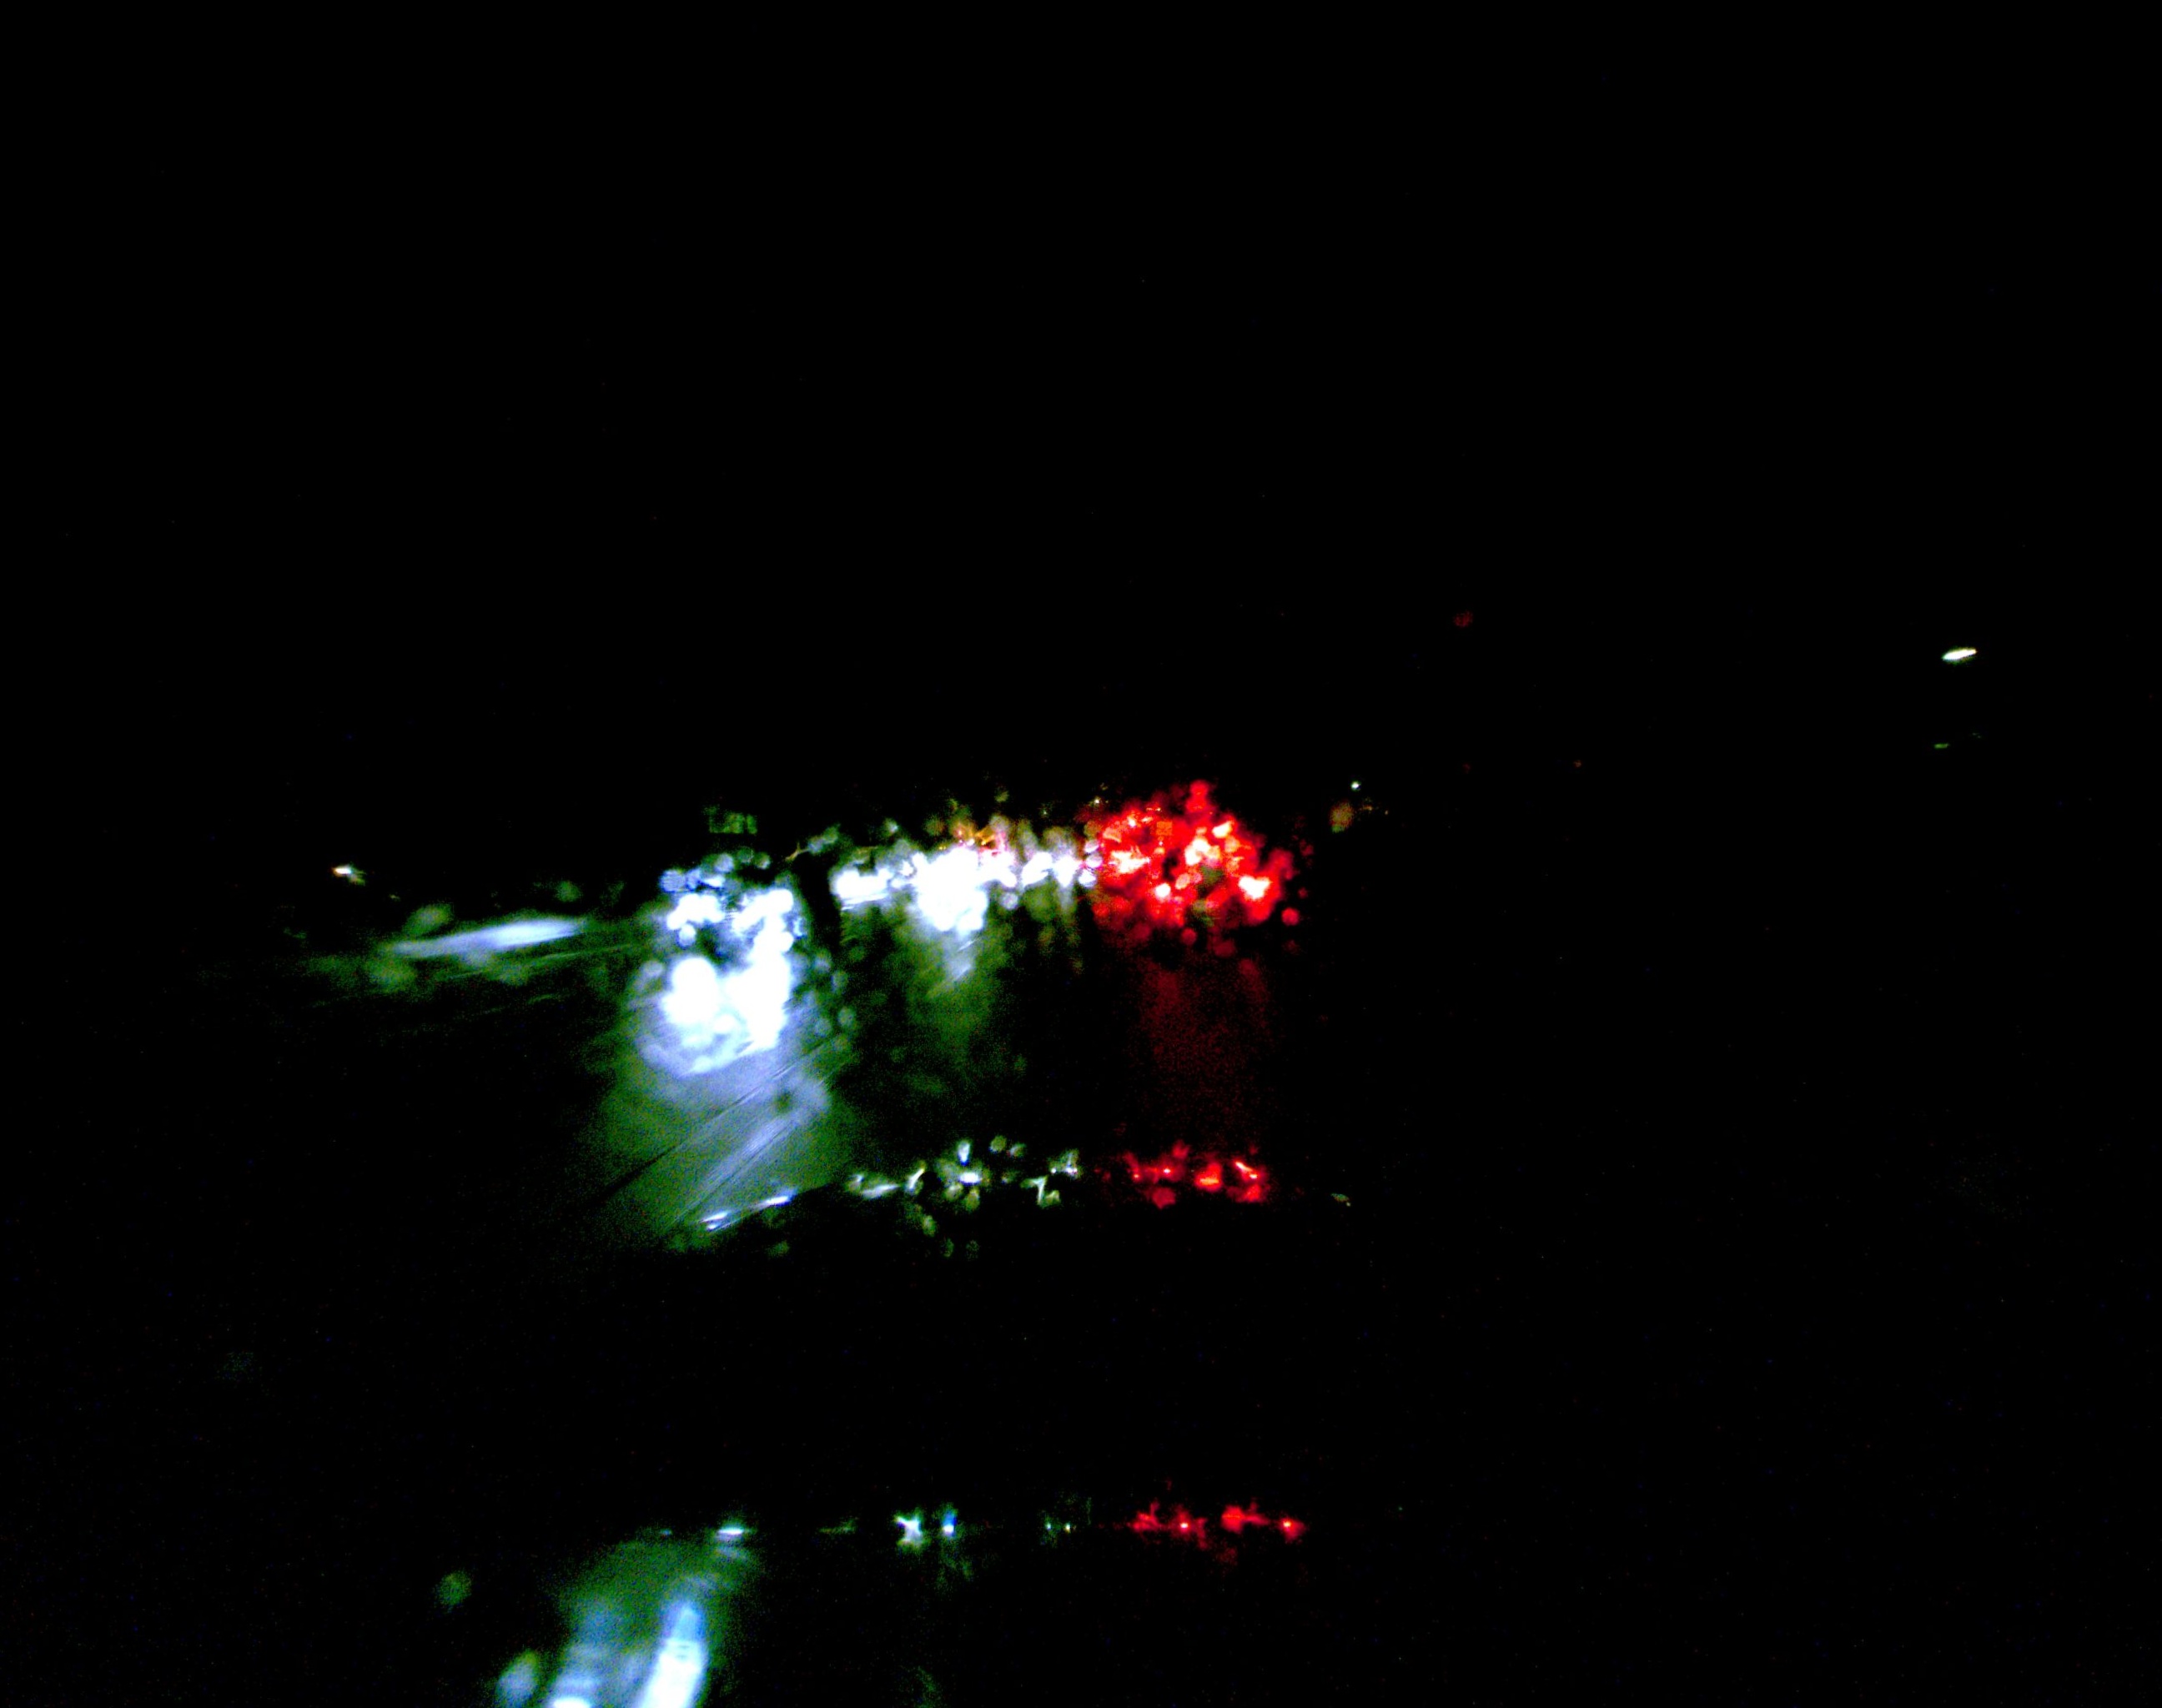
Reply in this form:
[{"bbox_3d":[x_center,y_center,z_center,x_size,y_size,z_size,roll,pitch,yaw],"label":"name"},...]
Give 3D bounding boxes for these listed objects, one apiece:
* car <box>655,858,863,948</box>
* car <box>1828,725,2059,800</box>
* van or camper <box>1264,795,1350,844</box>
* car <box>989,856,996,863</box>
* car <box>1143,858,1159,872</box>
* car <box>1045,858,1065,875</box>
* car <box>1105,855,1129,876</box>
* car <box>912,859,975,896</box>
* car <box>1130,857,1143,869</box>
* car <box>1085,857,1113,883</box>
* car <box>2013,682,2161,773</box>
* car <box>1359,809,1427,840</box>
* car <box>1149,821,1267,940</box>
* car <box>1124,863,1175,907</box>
[{"bbox_3d":[-6.046,0.832,16.101,2.070,1.449,4.992,-1,0,1],"label":"car"},{"bbox_3d":[22.812,-2.349,21.771,1.614,1.473,3.983,-1,-1,-12],"label":"car"},{"bbox_3d":[14.750,-2.178,53.696,2.584,2.908,6.327,-1,0,-14],"label":"van or camper"},{"bbox_3d":[-24.317,1.609,223.872,1.991,1.912,4.733,-1,0,-6],"label":"car"},{"bbox_3d":[7.961,1.243,92.411,1.654,1.450,4.058,-1,-1,7],"label":"car"},{"bbox_3d":[-2.259,1.069,71.597,1.689,1.434,4.292,0,0,0],"label":"car"},{"bbox_3d":[3.014,0.935,67.095,1.700,1.638,3.736,-2,0,6],"label":"car"},{"bbox_3d":[-5.859,0.973,35.338,1.912,1.444,4.545,-1,0,0],"label":"car"},{"bbox_3d":[7.282,1.183,106.241,1.655,1.450,4.055,-1,-1,5],"label":"car"},{"bbox_3d":[1.203,0.999,52.940,1.688,1.630,3.855,0,-1,3],"label":"car"},{"bbox_3d":[23.496,-2.805,17.687,1.614,1.640,3.983,-1,-1,-12],"label":"car"},{"bbox_3d":[17.715,-1.666,46.485,1.638,1.618,4.116,-1,0,-13],"label":"car"},{"bbox_3d":[2.316,0.444,15.770,1.933,1.972,4.224,-1,0,5],"label":"car"},{"bbox_3d":[2.643,1.106,30.604,1.759,1.450,4.225,-1,0,6],"label":"car"}]
